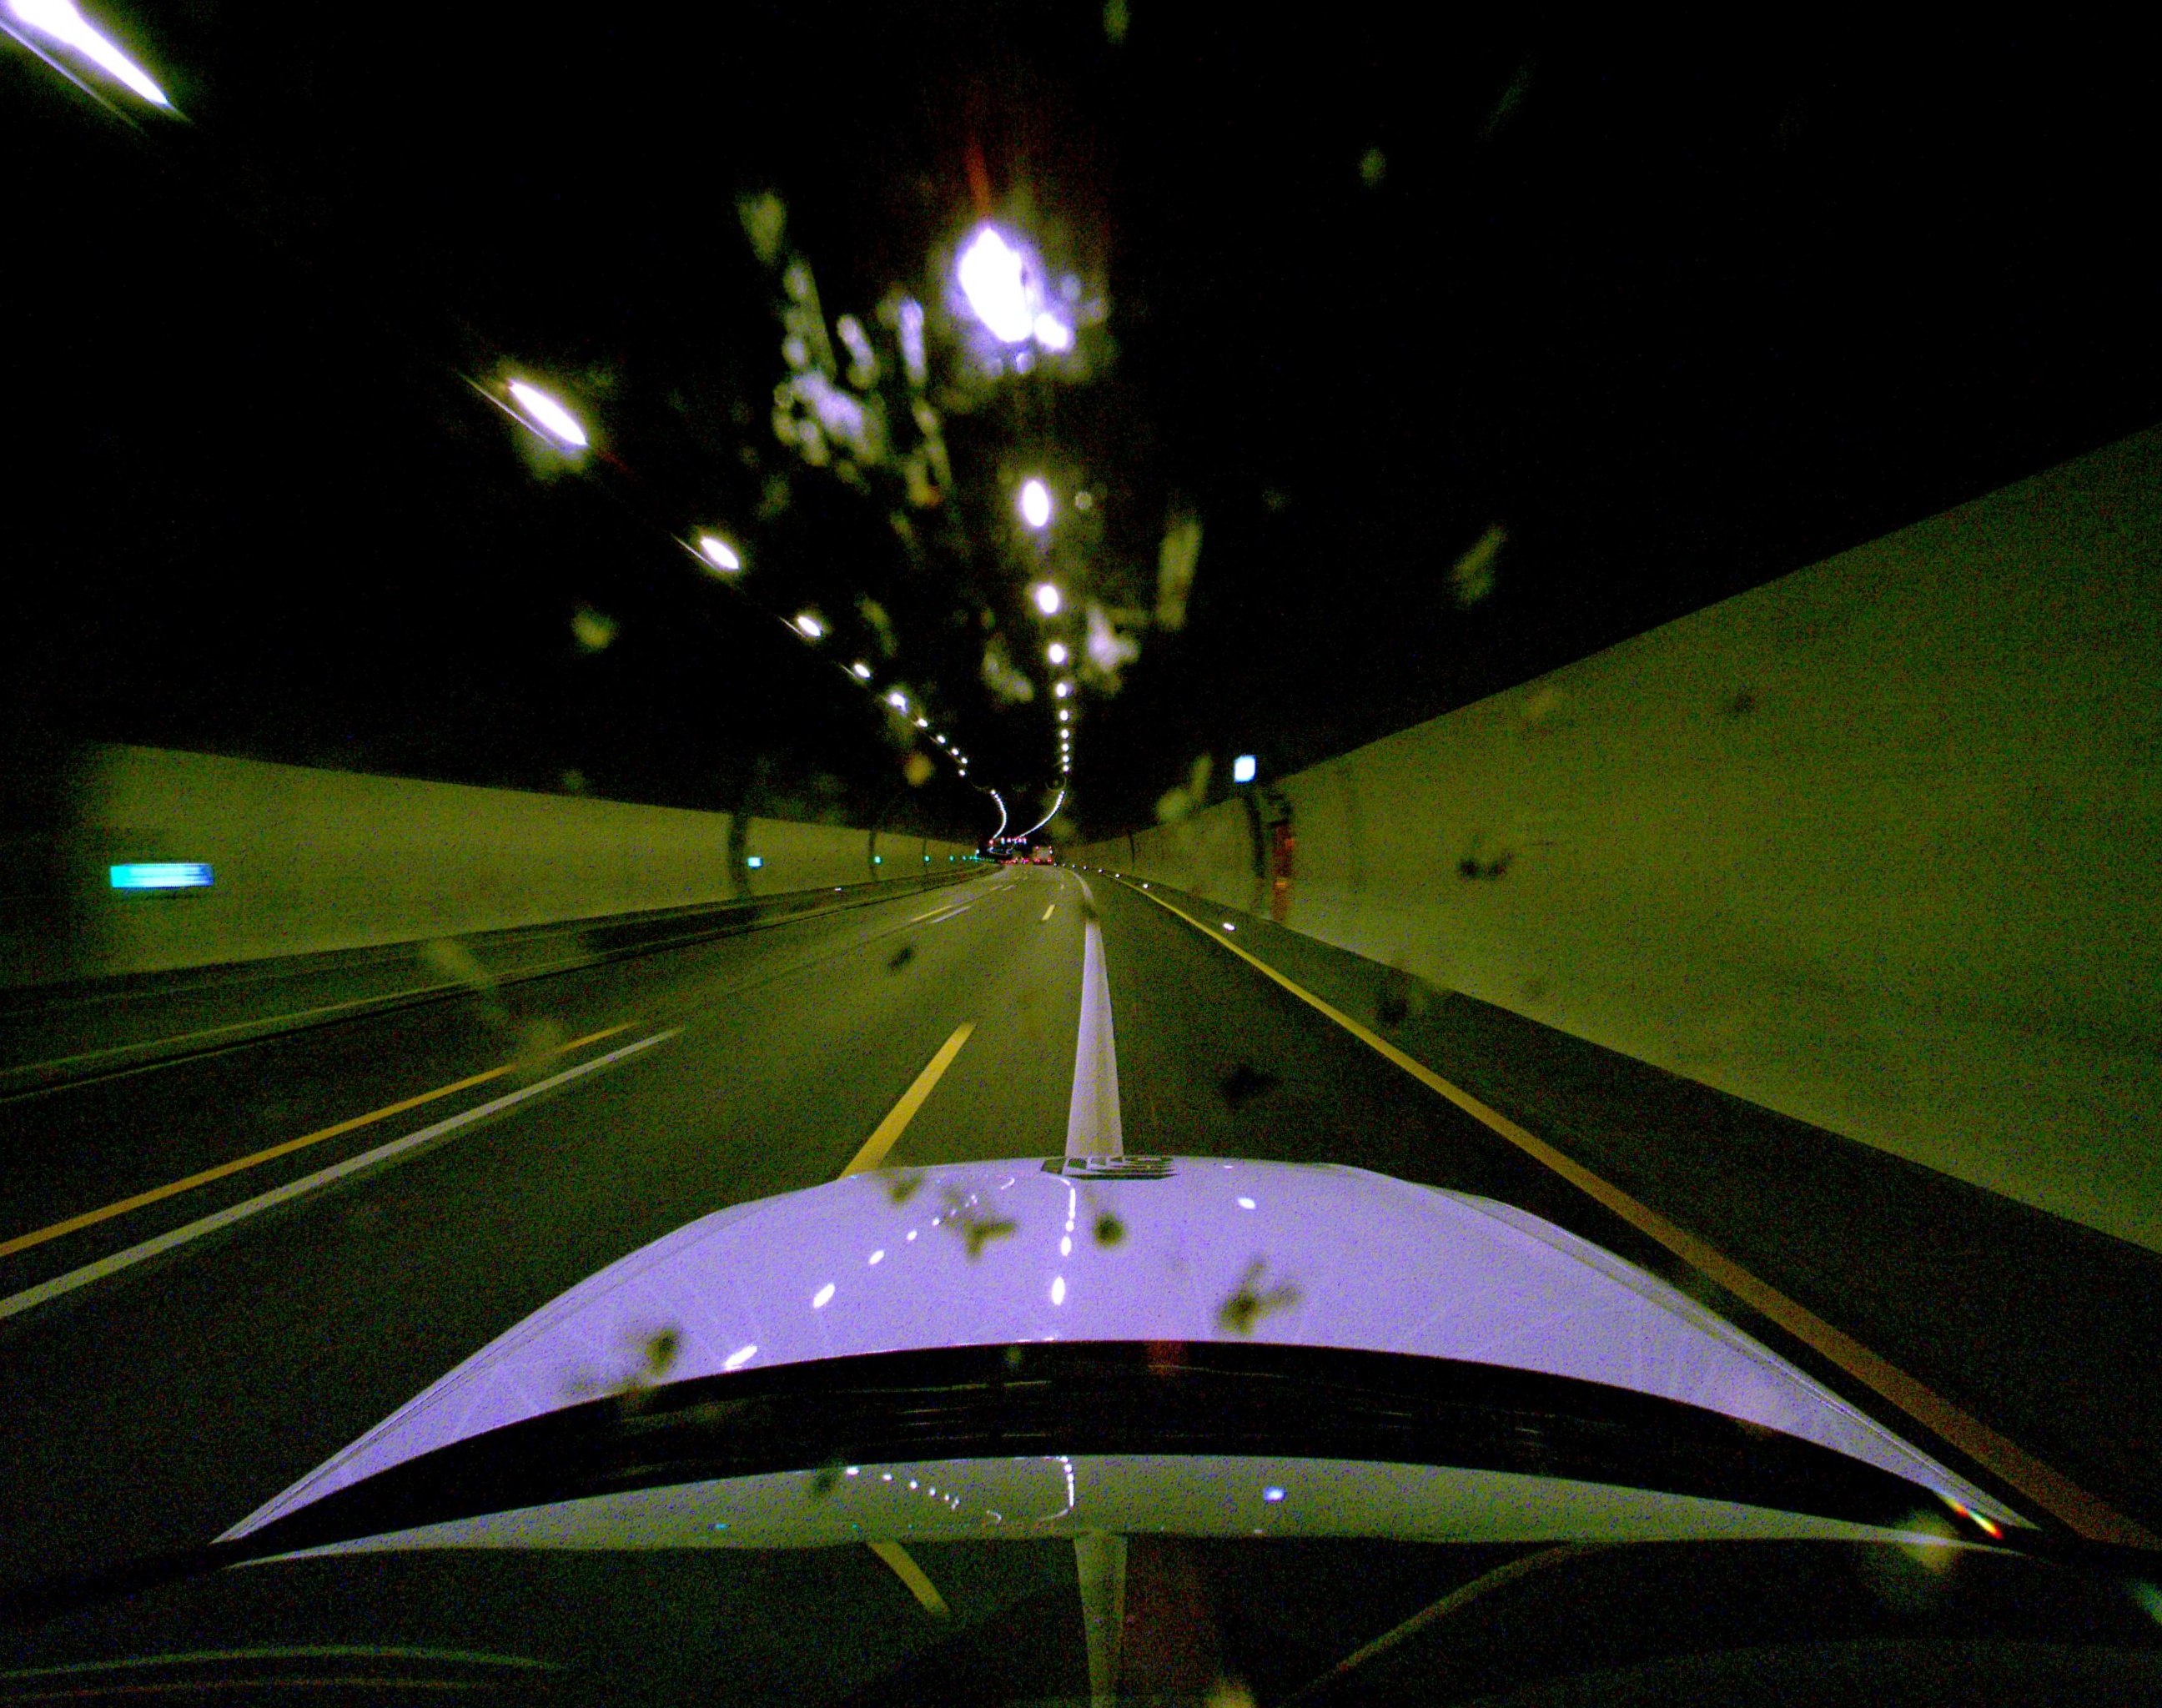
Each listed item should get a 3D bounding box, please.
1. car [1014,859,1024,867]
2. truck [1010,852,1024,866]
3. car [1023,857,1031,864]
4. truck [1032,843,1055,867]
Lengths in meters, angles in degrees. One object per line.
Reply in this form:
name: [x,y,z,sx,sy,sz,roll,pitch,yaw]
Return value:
car: [-13.616,1.971,179.038,1.993,1.582,3.988,0,0,-8]
truck: [-20.178,1.594,256.401,3.472,4.316,10.922,-2,0,-8]
car: [-14.381,1.743,216.600,1.991,2.013,3.992,-1,0,-6]
truck: [-7.415,0.187,158.358,3.472,4.316,10.922,-1,0,-8]
